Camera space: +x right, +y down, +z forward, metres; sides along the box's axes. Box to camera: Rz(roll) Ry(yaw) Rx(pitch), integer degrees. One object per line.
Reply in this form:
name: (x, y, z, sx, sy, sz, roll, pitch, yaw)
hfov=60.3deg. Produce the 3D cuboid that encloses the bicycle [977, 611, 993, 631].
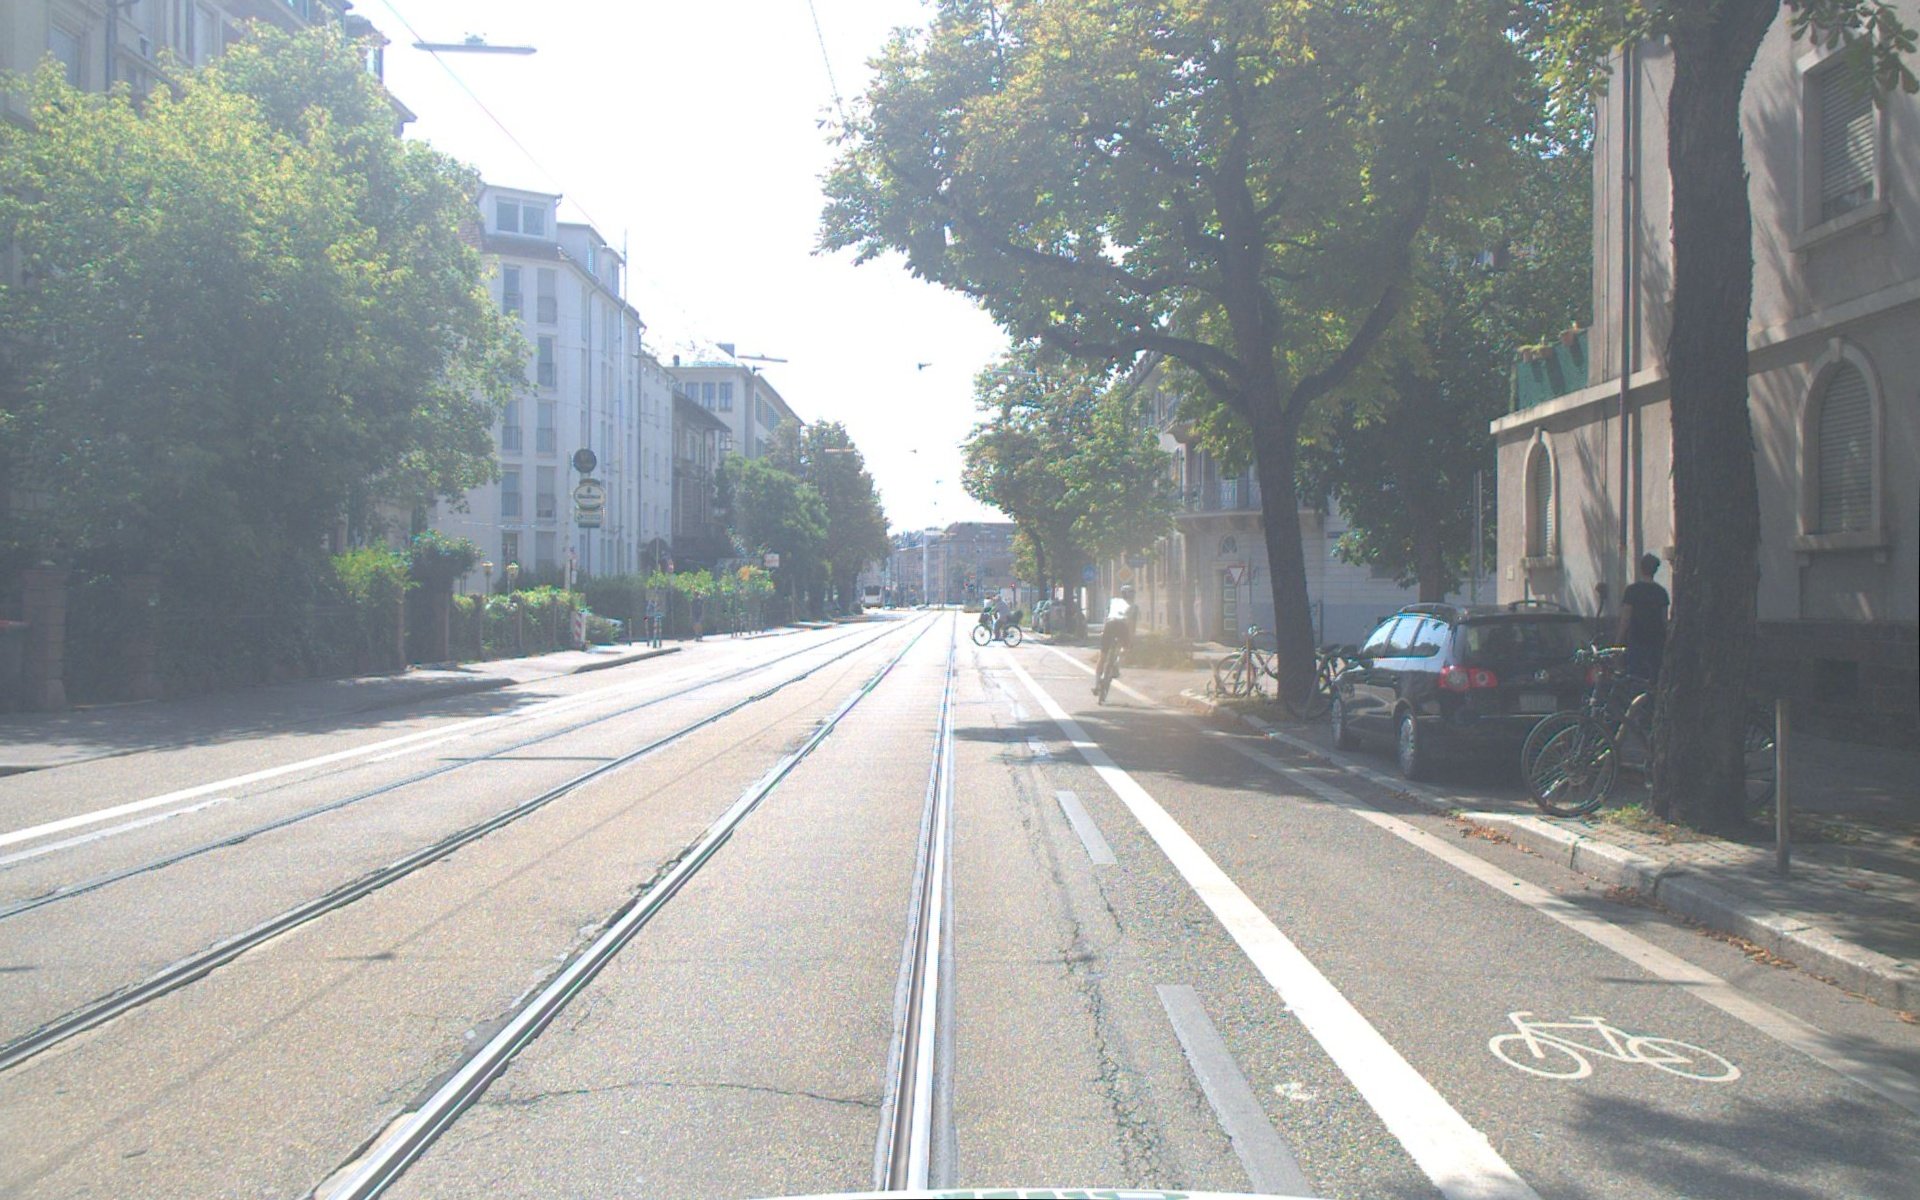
bicycle: (1.275, 1.083, 84.077, 0.743, 1.008, 2.298, 0, -1, 2)

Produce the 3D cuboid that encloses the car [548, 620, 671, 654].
car: (-13.362, 1.416, 63.057, 4.142, 1.205, 2.000, -2, -1, 20)

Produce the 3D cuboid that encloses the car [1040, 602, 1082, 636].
car: (4.472, 0.861, 73.902, 1.551, 1.490, 3.414, 0, -1, -2)

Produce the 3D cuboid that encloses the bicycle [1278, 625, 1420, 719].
bicycle: (4.833, 0.896, 20.596, 1.686, 1.156, 0.377, 0, -1, 6)

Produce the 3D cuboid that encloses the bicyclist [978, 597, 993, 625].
bicyclist: (1.275, 0.559, 84.117, 0.743, 1.416, 0.779, 0, -1, 2)

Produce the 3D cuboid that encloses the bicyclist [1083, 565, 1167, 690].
bicyclist: (2.543, 0.424, 25.425, 1.101, 1.869, 0.956, 0, -1, 17)

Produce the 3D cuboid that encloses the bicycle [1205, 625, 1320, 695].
bicycle: (4.651, 0.920, 25.496, 1.677, 1.050, 0.566, 0, -1, 0)

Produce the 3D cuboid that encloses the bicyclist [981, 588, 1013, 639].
bicyclist: (1.215, 0.457, 54.664, 0.807, 1.671, 0.784, 0, -1, 27)

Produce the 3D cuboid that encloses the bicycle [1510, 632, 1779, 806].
bicycle: (4.728, 0.810, 11.476, 1.686, 1.170, 0.377, 0, -1, 6)

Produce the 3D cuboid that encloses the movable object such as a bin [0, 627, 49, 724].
movable object such as a bin: (-11.335, 0.877, 19.442, 0.770, 1.094, 0.803, 1, -1, 3)

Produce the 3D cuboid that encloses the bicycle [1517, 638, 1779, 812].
bicycle: (4.591, 0.823, 11.093, 1.571, 1.123, 0.399, 0, -1, 6)

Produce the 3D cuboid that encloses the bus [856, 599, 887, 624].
bus: (-12.378, 1.655, 233.123, 3.659, 3.423, 15.116, 0, -1, -1)

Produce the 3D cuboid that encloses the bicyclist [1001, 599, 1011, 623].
bicyclist: (2.508, 0.611, 90.574, 0.567, 1.301, 0.471, 0, -1, 2)

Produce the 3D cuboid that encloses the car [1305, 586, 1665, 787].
car: (4.706, 0.709, 15.640, 1.803, 1.559, 4.779, -2, 0, -1)

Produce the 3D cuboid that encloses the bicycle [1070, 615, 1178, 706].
bicycle: (2.559, 0.892, 25.458, 1.123, 1.291, 2.713, 0, 0, 17)

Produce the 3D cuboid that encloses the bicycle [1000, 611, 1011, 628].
bicycle: (2.517, 1.067, 90.677, 0.575, 0.955, 2.172, 0, -1, 2)

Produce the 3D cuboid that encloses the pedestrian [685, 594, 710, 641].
pedestrian: (-10.139, 0.659, 63.900, 0.763, 1.787, 1.040, -1, -1, 0)

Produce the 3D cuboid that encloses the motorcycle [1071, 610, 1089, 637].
motorcycle: (4.891, 0.957, 67.478, 0.537, 1.086, 2.330, 0, -1, 0)

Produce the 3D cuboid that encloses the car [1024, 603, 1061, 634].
car: (4.046, 0.944, 81.606, 1.551, 1.490, 3.465, 0, -1, -2)

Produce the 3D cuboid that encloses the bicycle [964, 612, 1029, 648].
bicycle: (1.199, 0.984, 54.666, 1.995, 1.171, 0.784, 0, -1, 28)

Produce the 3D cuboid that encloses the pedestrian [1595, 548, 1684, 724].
pedestrian: (7.557, 0.398, 18.406, 0.692, 1.925, 0.714, 0, -1, 1)
